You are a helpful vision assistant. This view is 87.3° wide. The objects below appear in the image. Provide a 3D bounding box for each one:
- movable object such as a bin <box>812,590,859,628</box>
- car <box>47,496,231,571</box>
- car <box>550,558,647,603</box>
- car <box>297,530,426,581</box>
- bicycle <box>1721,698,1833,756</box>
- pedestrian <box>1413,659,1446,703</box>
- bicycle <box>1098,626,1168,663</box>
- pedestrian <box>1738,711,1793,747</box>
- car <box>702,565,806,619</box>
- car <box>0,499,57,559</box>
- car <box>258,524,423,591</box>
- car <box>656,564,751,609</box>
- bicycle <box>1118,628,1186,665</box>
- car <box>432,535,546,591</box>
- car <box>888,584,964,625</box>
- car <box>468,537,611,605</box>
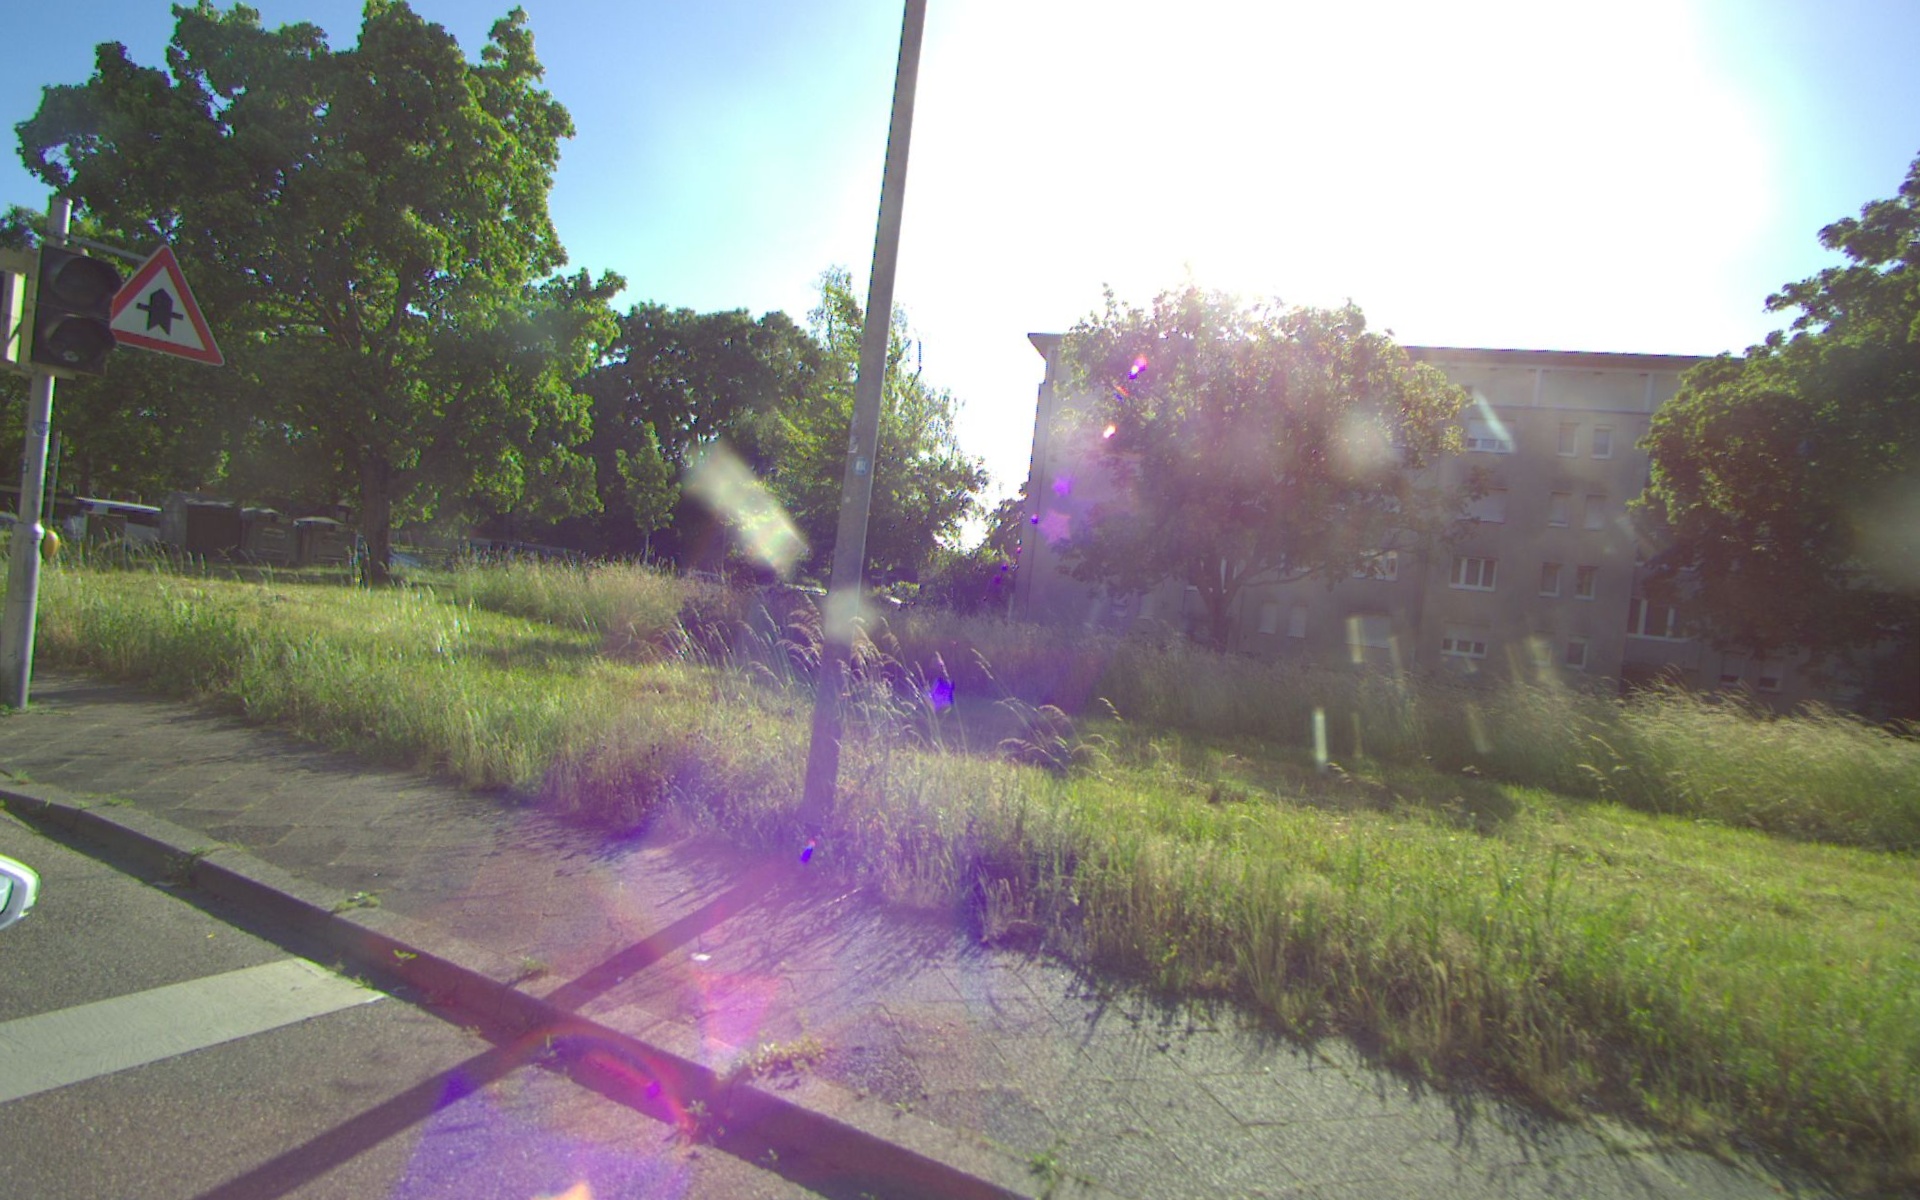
[{"bbox_3d":[-5.586,0.410,45.179,1.508,1.527,1.392,6,0,16],"label":"movable object such as a bin"},{"bbox_3d":[-23.504,-1.872,28.911,1.800,1.597,3.685,7,0,36],"label":"car"},{"bbox_3d":[-17.277,-0.920,48.229,1.966,1.631,3.871,7,0,30],"label":"car"},{"bbox_3d":[-23.202,-1.693,39.134,1.757,1.414,3.870,9,1,32],"label":"car"},{"bbox_3d":[27.803,4.299,34.285,2.704,1.545,0.782,6,1,19],"label":"bicycle"},{"bbox_3d":[16.777,2.882,35.960,0.753,1.475,0.757,7,1,14],"label":"pedestrian"},{"bbox_3d":[7.190,1.845,41.917,2.646,1.220,0.940,7,1,2],"label":"bicycle"},{"bbox_3d":[23.923,3.816,29.893,0.985,0.859,0.745,7,1,18],"label":"pedestrian"},{"bbox_3d":[-9.836,-0.341,48.357,2.132,2.037,4.503,7,0,36],"label":"car"},{"bbox_3d":[-25.804,-2.049,25.155,1.717,1.353,4.431,8,0,33],"label":"car"},{"bbox_3d":[-20.345,-1.366,33.196,1.942,1.560,4.105,8,0,34],"label":"car"},{"bbox_3d":[-13.385,-0.677,52.709,1.969,1.830,4.453,7,0,36],"label":"car"},{"bbox_3d":[8.144,1.952,42.756,2.646,1.220,0.940,7,1,2],"label":"bicycle"},{"bbox_3d":[-20.371,-1.586,43.600,1.970,1.874,3.863,7,0,38],"label":"car"},{"bbox_3d":[-2.224,0.334,67.712,2.234,2.290,5.057,6,0,38],"label":"car"},{"bbox_3d":[-16.345,-1.101,39.261,2.239,2.037,4.503,7,0,36],"label":"car"}]
